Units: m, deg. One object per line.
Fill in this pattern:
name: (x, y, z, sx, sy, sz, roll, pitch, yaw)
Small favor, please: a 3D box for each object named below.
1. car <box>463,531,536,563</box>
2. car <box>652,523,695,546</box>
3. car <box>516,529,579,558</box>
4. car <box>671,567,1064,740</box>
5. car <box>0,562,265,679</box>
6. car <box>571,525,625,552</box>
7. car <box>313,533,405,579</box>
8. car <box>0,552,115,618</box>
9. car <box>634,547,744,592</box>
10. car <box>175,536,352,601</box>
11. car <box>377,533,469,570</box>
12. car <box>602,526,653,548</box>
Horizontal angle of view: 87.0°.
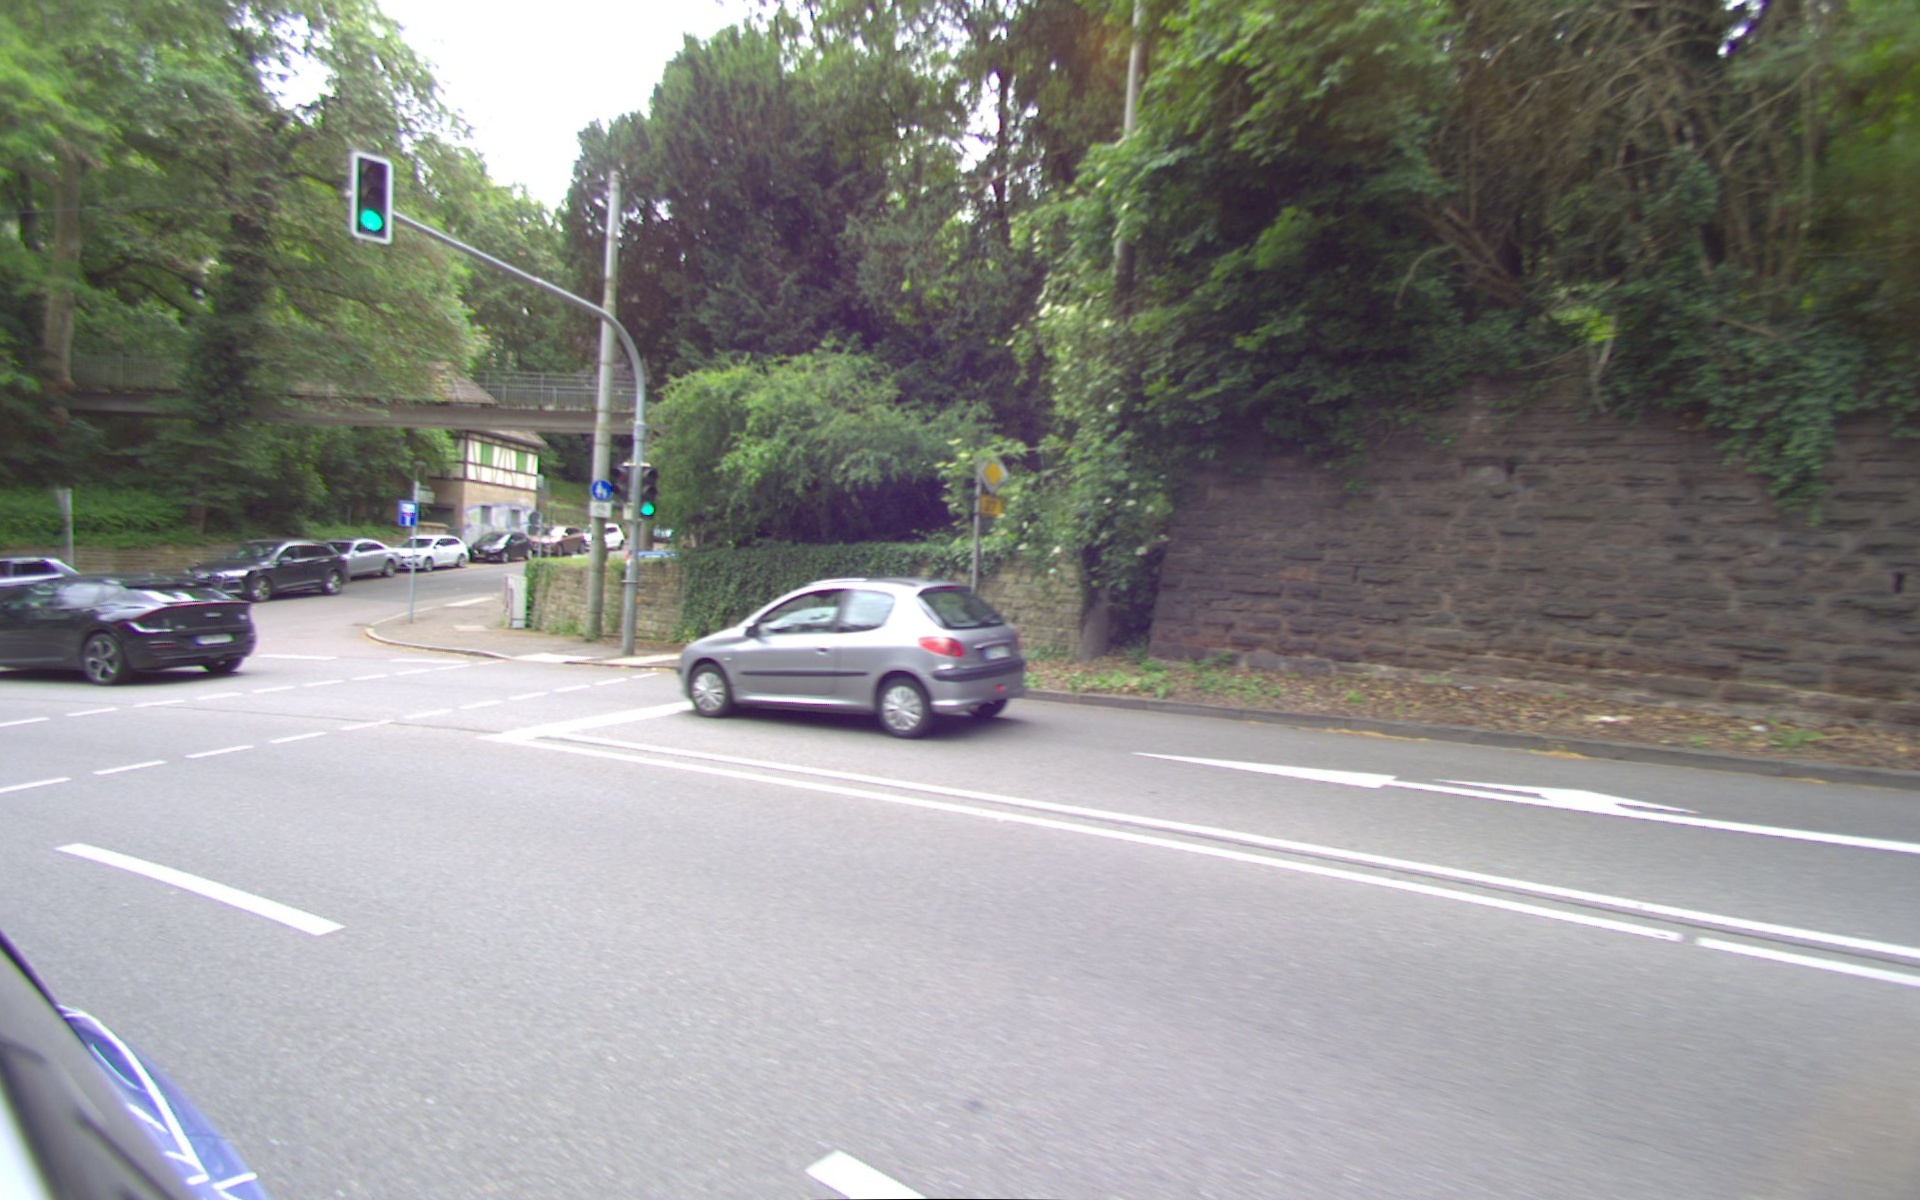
car: (-22.153, -2.591, 48.805, 1.581, 1.338, 3.910, 3, 5, 3)
car: (-19.528, -4.492, 69.093, 1.581, 1.338, 3.910, 3, 5, 3)
car: (-21.838, -3.037, 53.763, 1.581, 1.338, 3.910, 3, 5, 3)
car: (-0.990, 0.408, 10.107, 3.744, 1.428, 1.594, 1, 2, 33)
car: (-12.815, 0.249, 15.045, 4.357, 1.554, 1.628, 0, 3, 15)
car: (-21.129, -3.614, 59.134, 1.581, 1.338, 3.910, 3, 6, 3)
car: (-22.691, -1.701, 38.339, 1.485, 1.457, 3.265, 3, 6, 1)
car: (-22.152, -0.334, 23.142, 1.742, 1.368, 3.972, 3, 5, 21)
car: (-10.613, -1.204, 39.809, 3.938, 1.563, 1.779, 2, 4, -6)
car: (-20.567, -1.023, 30.174, 1.786, 1.696, 4.535, 2, 5, 7)
car: (-22.741, -2.093, 43.025, 1.607, 1.338, 4.022, 3, 5, 3)
car: (-20.656, -3.928, 63.027, 1.576, 1.237, 3.633, 3, 5, 7)
